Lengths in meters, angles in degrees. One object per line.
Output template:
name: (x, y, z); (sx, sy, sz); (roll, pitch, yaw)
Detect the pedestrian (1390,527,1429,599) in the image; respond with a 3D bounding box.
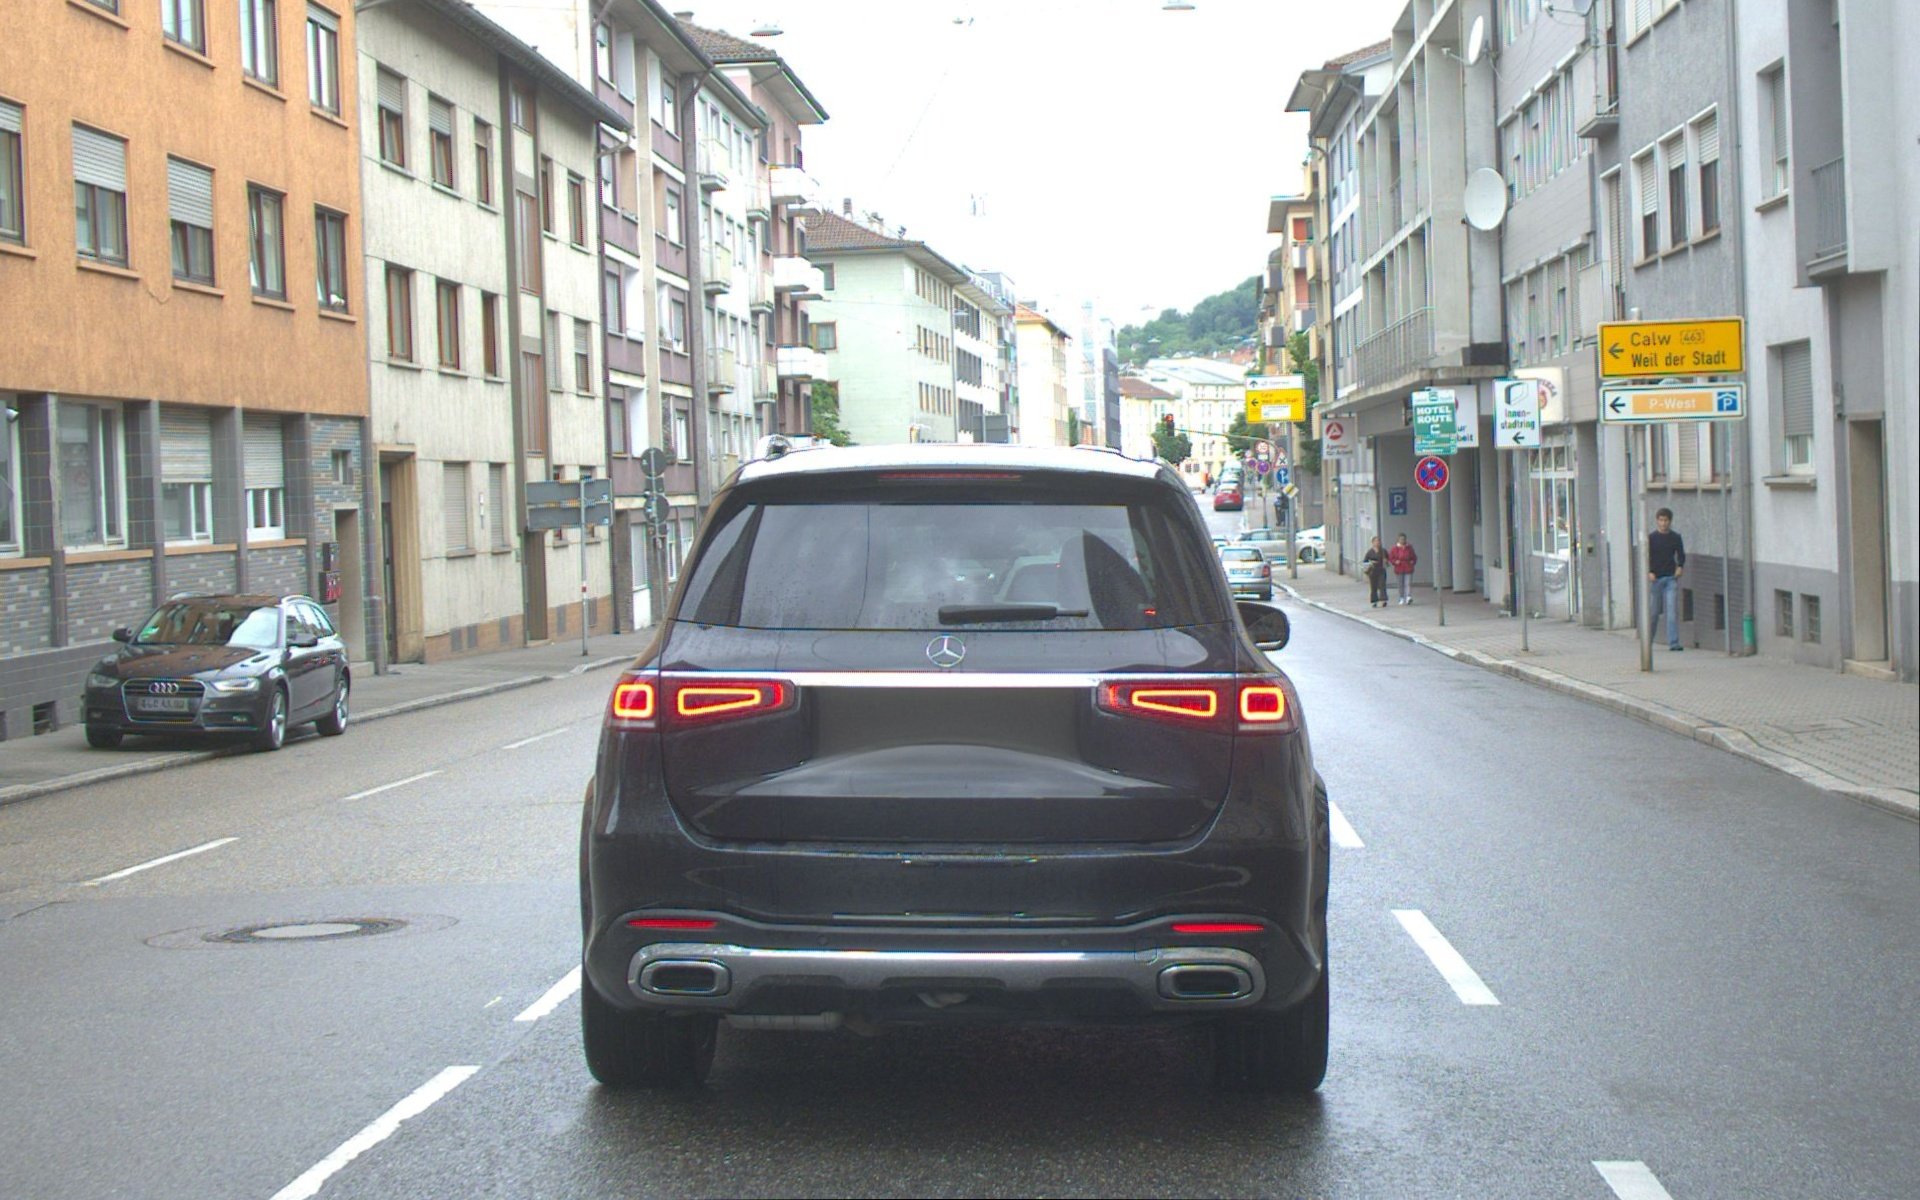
pedestrian: (9.822, -0.815, 75.147); (0.821, 1.560, 0.899); (0, 1, 6)

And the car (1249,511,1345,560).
car: (14.116, -2.689, 144.066); (3.988, 2.007, 2.000); (0, 1, 6)

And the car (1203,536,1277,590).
car: (7.483, -1.007, 92.304); (1.734, 1.383, 4.583); (0, 1, 2)

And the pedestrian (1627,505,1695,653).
pedestrian: (8.530, -0.267, 41.870); (0.655, 1.746, 0.741); (-4, 1, 8)

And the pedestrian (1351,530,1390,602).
pedestrian: (8.972, -0.751, 75.233); (0.821, 1.560, 0.899); (0, 1, 6)

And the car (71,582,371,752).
car: (-7.175, 0.602, 33.844); (1.891, 1.453, 4.549); (0, 1, 1)

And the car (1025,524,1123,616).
car: (2.602, -0.699, 77.527); (1.994, 2.007, 4.000); (0, 1, 5)

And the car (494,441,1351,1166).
car: (-0.031, 0.431, 10.689); (2.076, 1.759, 4.611); (0, 2, 2)

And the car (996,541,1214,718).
car: (1.295, 0.223, 32.307); (1.893, 1.505, 4.174); (0, 1, 0)

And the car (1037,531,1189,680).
car: (2.230, 0.040, 49.165); (1.994, 2.007, 4.000); (0, 1, 5)
